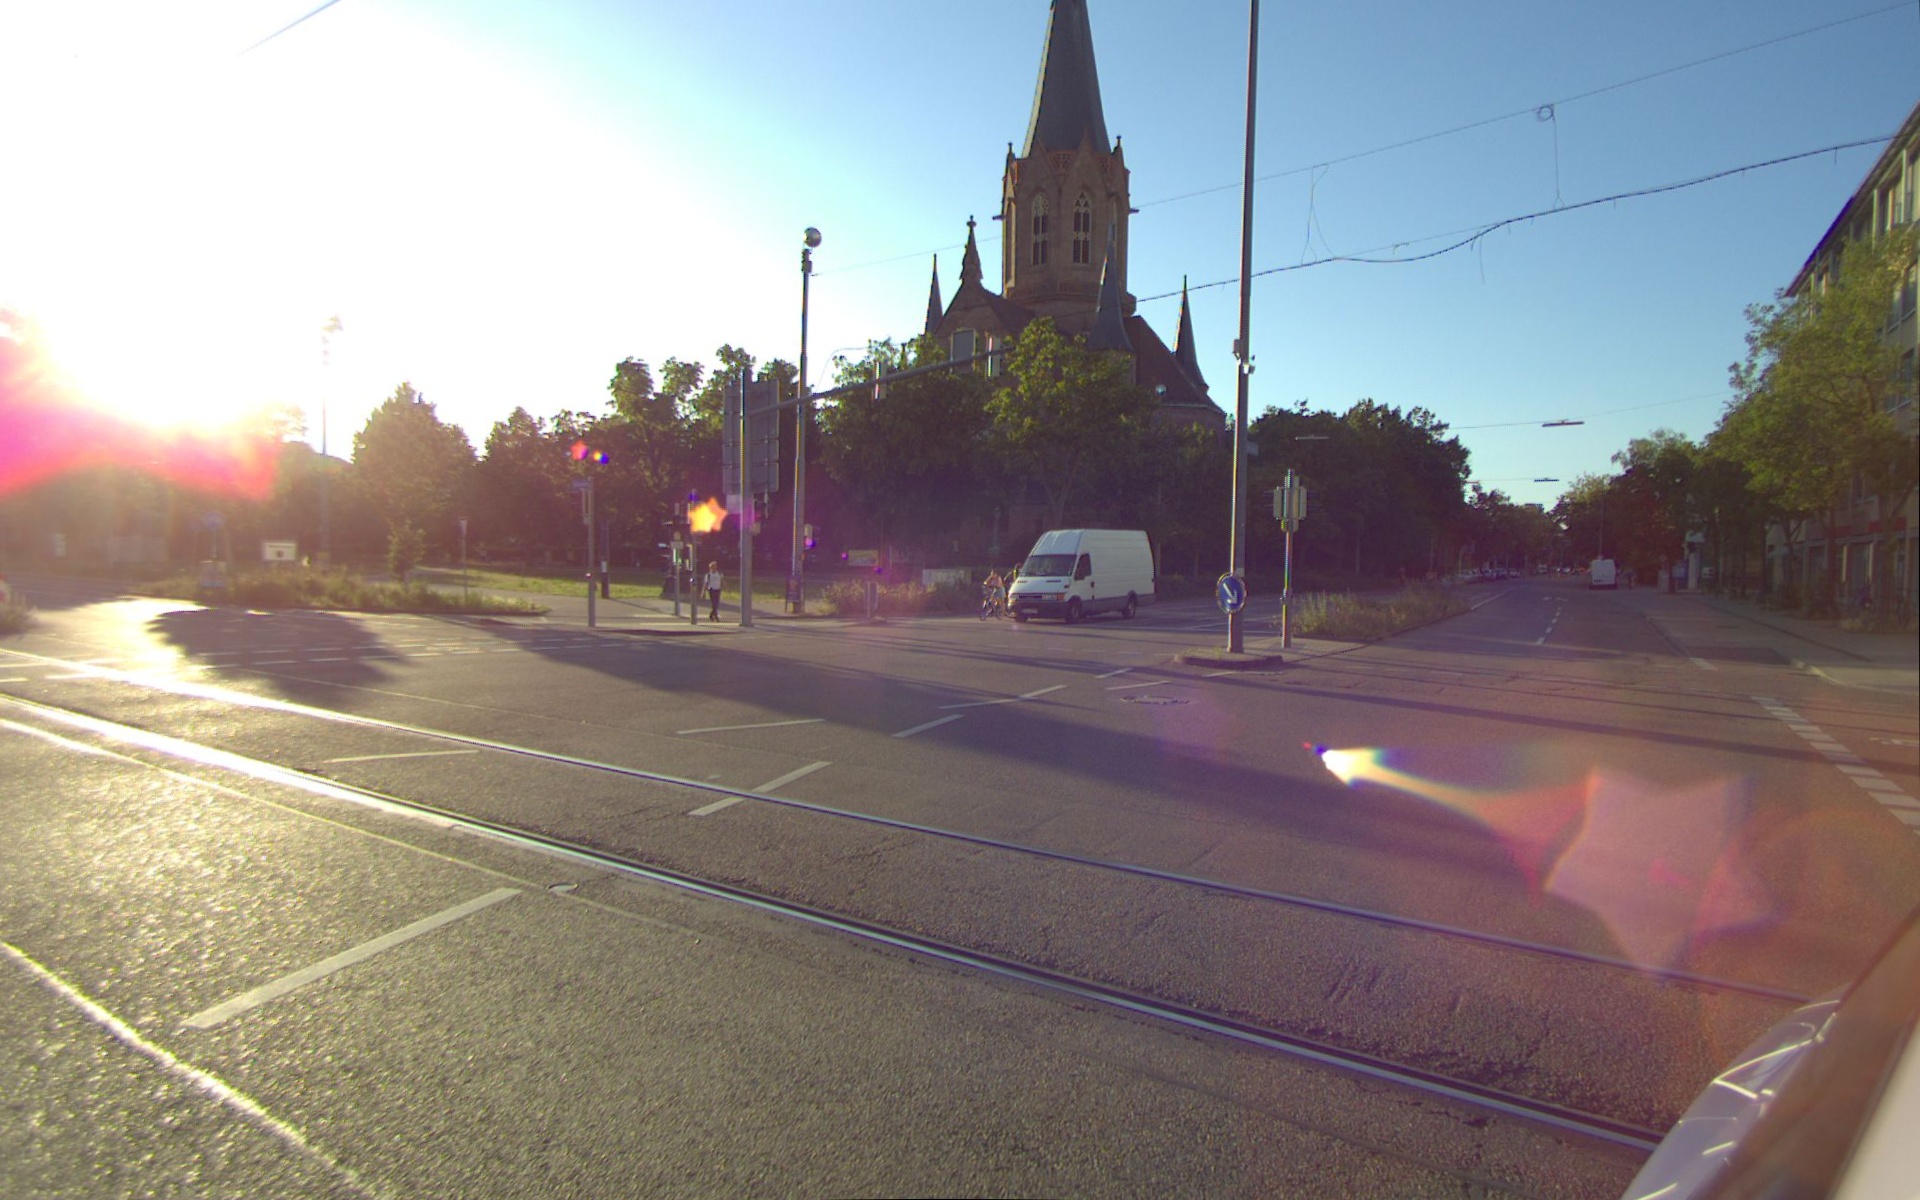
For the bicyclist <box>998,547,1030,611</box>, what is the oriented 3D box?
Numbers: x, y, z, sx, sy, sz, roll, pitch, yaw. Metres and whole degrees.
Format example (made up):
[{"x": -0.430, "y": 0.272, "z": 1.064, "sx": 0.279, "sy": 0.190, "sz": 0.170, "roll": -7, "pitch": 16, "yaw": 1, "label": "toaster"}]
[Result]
[{"x": 1.768, "y": -0.687, "z": 33.154, "sx": 0.663, "sy": 2.038, "sz": 0.863, "roll": 3, "pitch": 3, "yaw": 37, "label": "bicyclist"}]

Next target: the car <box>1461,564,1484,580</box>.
[{"x": 55.416, "y": -3.066, "z": 109.489, "sx": 1.979, "sy": 1.678, "sz": 3.967, "roll": 2, "pitch": 3, "yaw": 25, "label": "car"}]

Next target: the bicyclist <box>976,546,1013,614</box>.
[{"x": 1.064, "y": -0.616, "z": 31.085, "sx": 0.718, "sy": 2.038, "sz": 0.890, "roll": 3, "pitch": 3, "yaw": 38, "label": "bicyclist"}]

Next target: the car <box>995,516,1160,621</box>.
[{"x": 3.785, "y": -0.983, "z": 31.030, "sx": 2.079, "sy": 2.862, "sz": 6.949, "roll": 2, "pitch": 2, "yaw": 34, "label": "car"}]

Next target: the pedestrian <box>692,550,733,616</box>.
[{"x": -7.008, "y": -0.500, "z": 28.640, "sx": 0.821, "sy": 1.825, "sz": 0.810, "roll": -1, "pitch": 3, "yaw": -42, "label": "pedestrian"}]

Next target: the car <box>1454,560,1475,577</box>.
[{"x": 52.679, "y": -3.279, "z": 105.610, "sx": 1.890, "sy": 1.637, "sz": 3.963, "roll": 3, "pitch": 3, "yaw": 27, "label": "car"}]

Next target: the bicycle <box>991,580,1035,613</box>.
[{"x": 1.754, "y": -0.125, "z": 33.175, "sx": 0.670, "sy": 0.993, "sz": 1.599, "roll": 3, "pitch": 4, "yaw": 36, "label": "bicycle"}]

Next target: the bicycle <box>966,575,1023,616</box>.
[{"x": 1.081, "y": -0.151, "z": 31.138, "sx": 0.731, "sy": 1.190, "sz": 1.947, "roll": 3, "pitch": 3, "yaw": 37, "label": "bicycle"}]

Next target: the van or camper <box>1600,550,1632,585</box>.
[{"x": 57.143, "y": -2.861, "z": 88.096, "sx": 2.141, "sy": 2.877, "sz": 4.351, "roll": 3, "pitch": 3, "yaw": 34, "label": "van or camper"}]
